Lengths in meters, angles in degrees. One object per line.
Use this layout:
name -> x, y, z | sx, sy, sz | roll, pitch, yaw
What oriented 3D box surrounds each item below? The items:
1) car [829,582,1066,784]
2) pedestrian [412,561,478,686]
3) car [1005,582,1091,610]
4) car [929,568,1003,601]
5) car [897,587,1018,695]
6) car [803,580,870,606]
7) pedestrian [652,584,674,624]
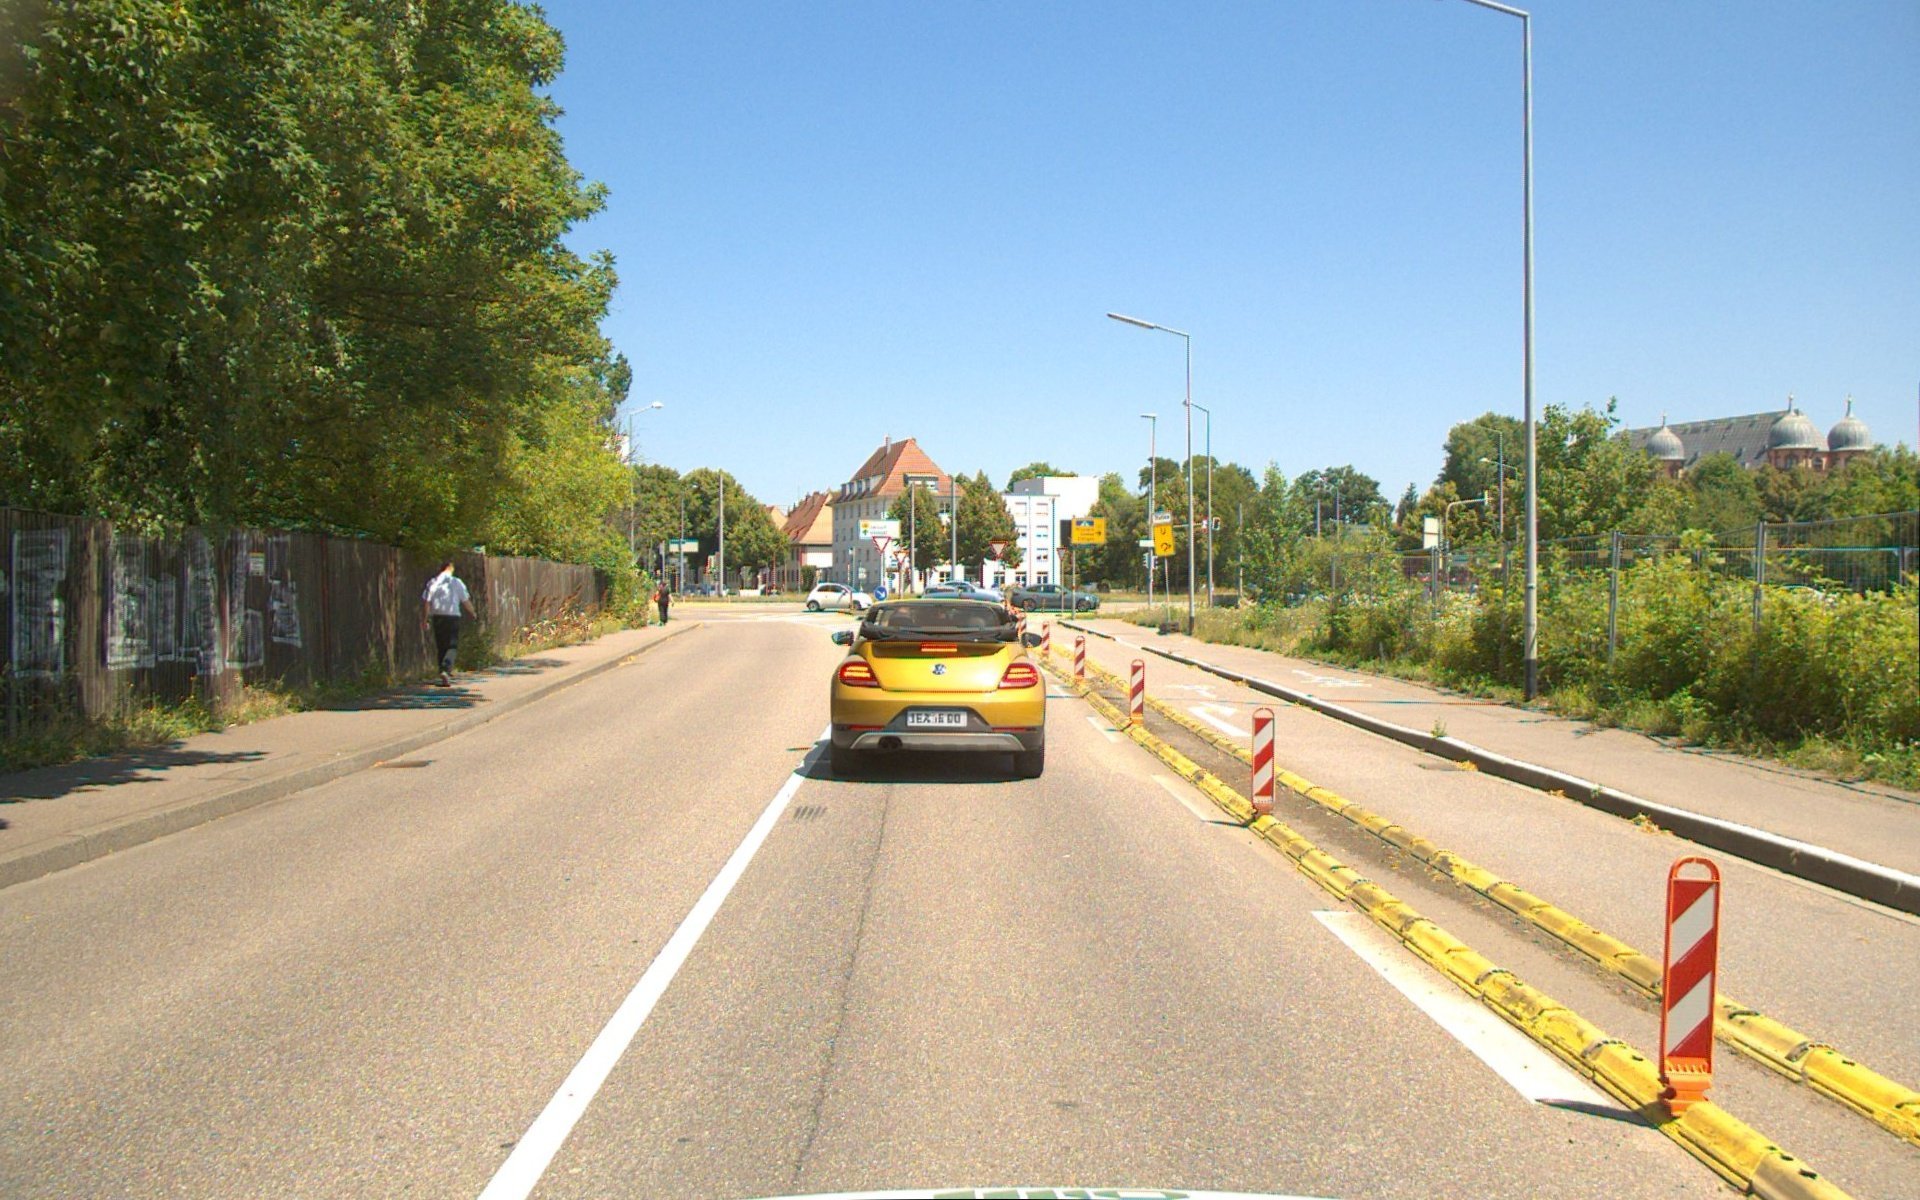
car -> -0.167, 0.602, 14.342 | 1.754, 1.461, 3.812 | -1, 1, -2
pedestrian -> -7.401, 0.323, 23.787 | 0.708, 1.755, 0.817 | -1, 1, -5
car -> 4.578, -0.213, 85.654 | 4.346, 1.381, 1.538 | -1, 1, 4
car -> 0.355, -0.878, 94.029 | 3.986, 1.774, 1.568 | -1, 1, 7
car -> -0.059, 0.562, 25.439 | 1.691, 1.468, 4.000 | -1, 1, -1
car -> -6.495, -0.367, 87.024 | 3.364, 1.298, 1.203 | -1, 1, 6
pedestrian -> -11.002, 0.143, 61.239 | 0.708, 1.479, 0.817 | -1, 1, -5
